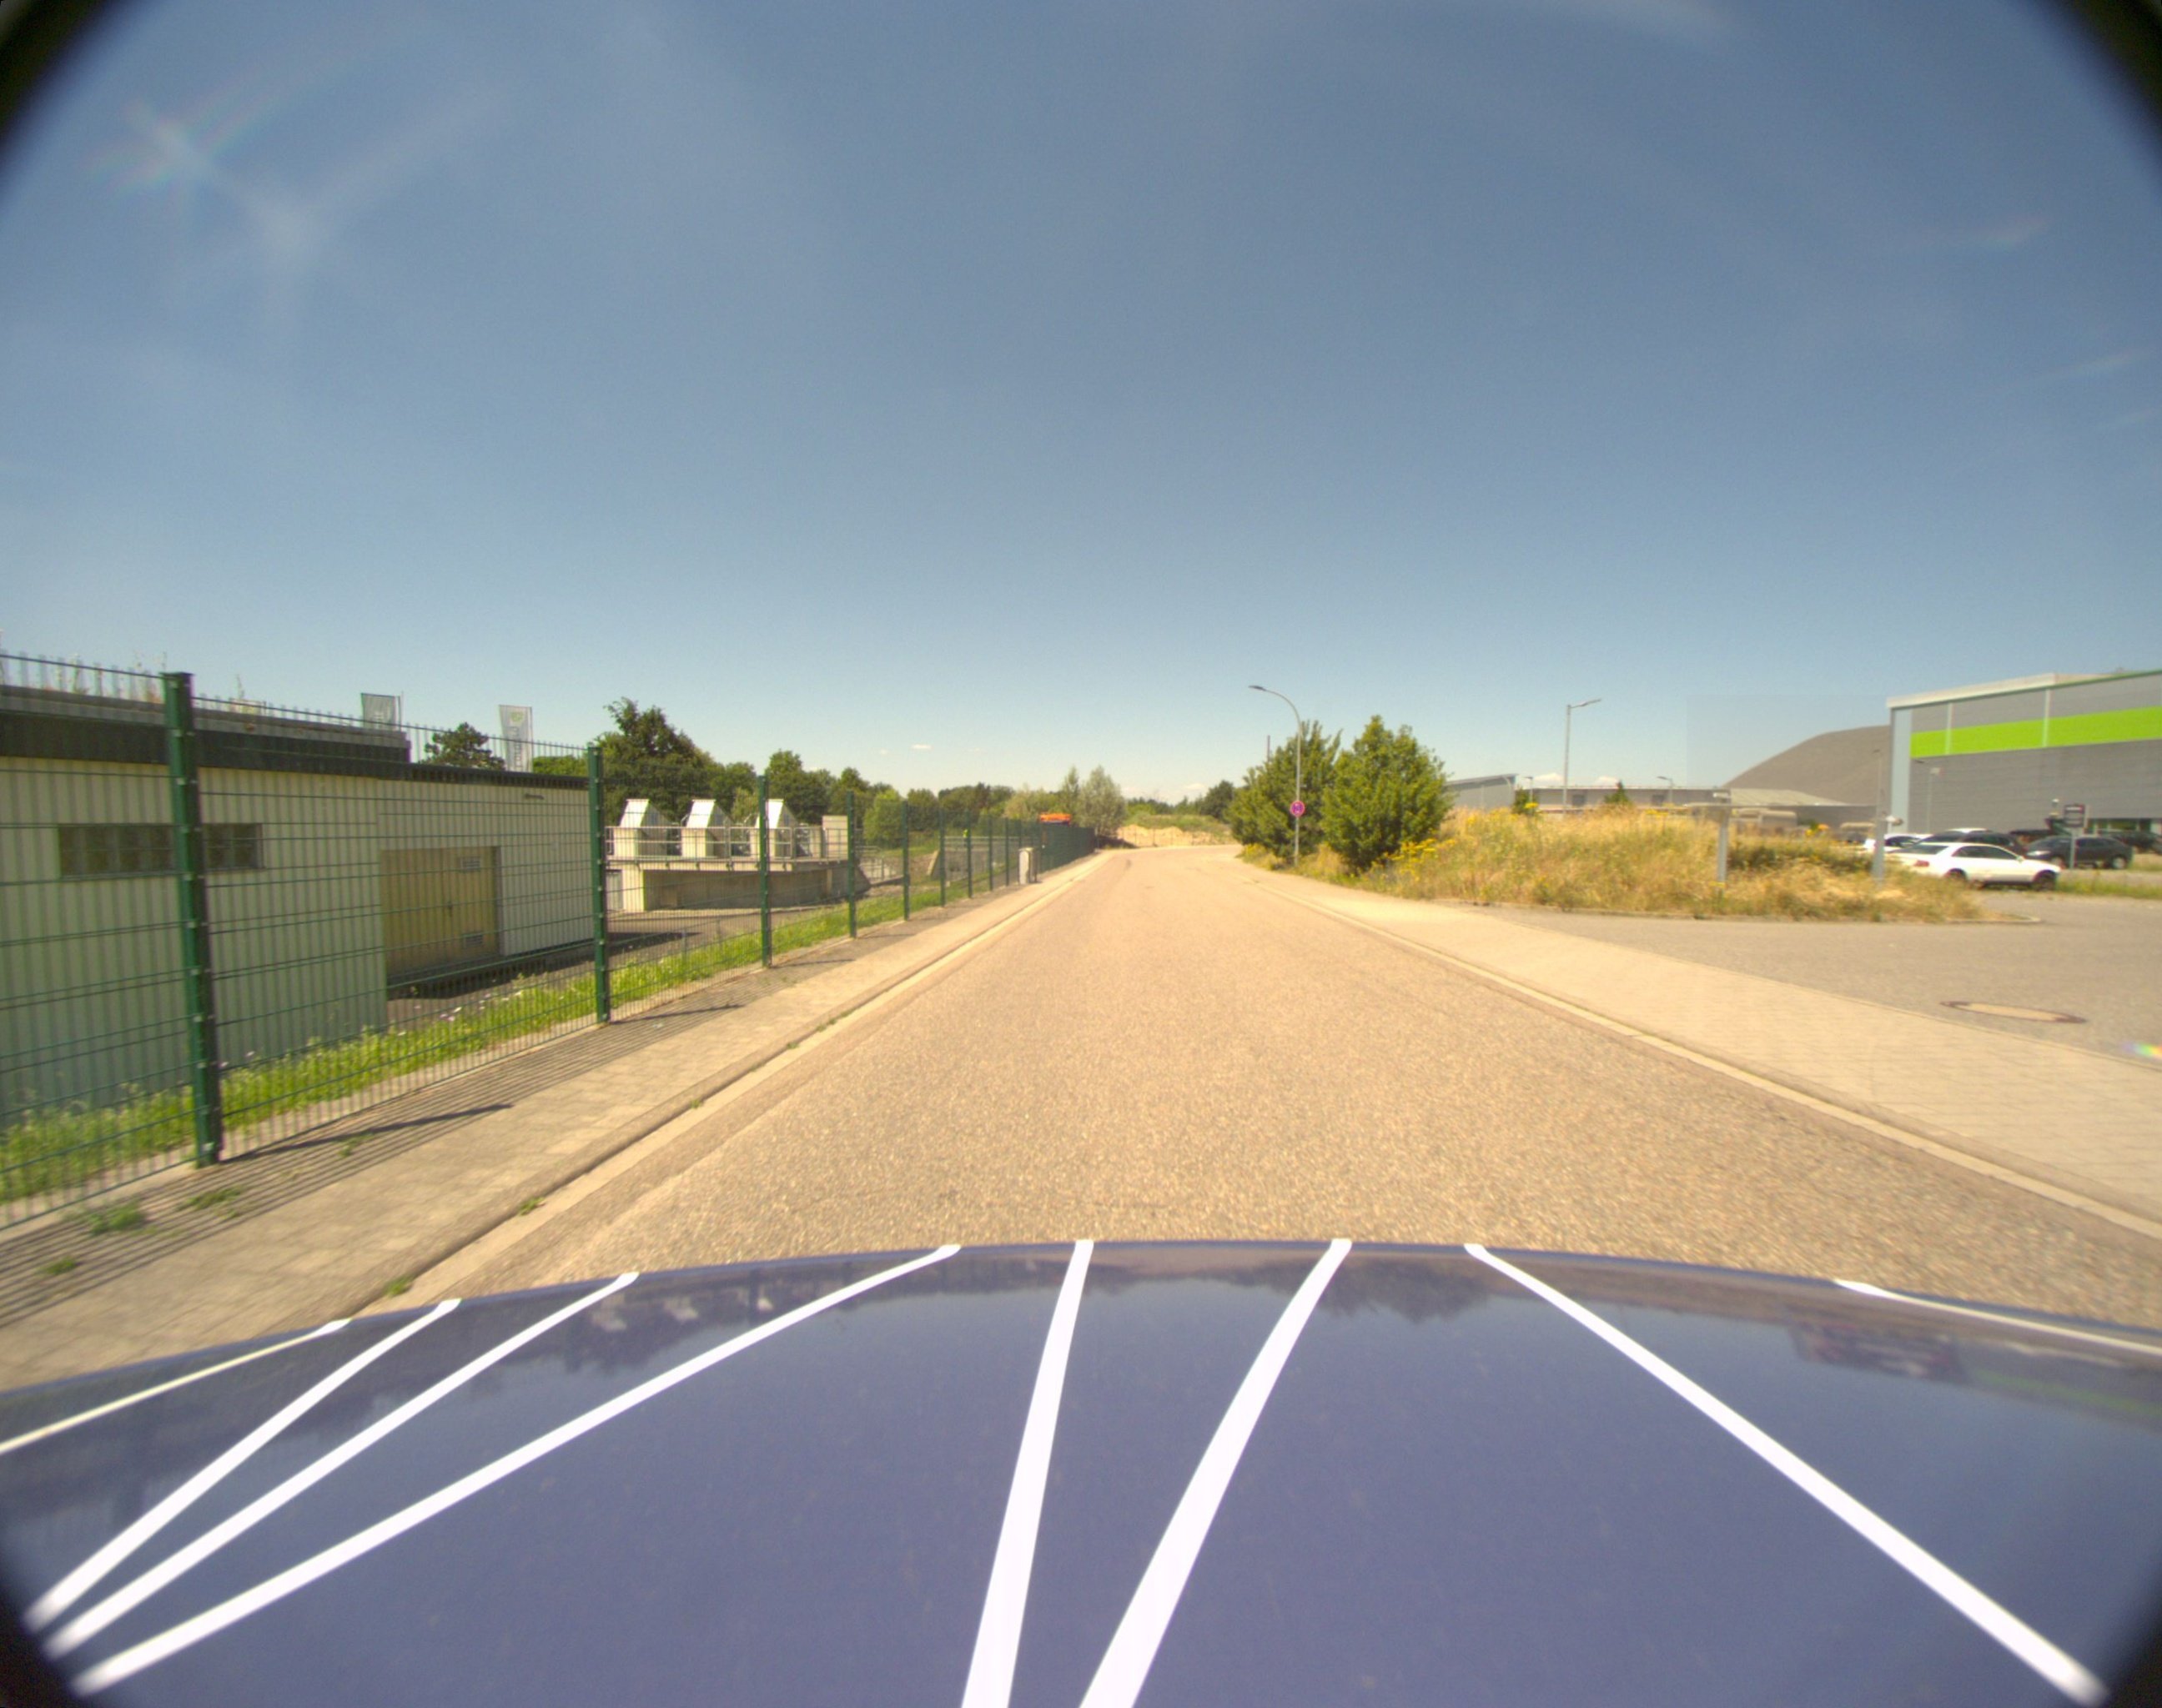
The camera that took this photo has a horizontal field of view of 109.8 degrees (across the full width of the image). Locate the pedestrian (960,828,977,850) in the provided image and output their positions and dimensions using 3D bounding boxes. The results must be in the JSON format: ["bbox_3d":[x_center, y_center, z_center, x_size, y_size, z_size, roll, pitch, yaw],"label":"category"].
[{"bbox_3d":[-10.534,-1.423,71.286,1.304,2.002,1.216,-1,2,4],"label":"pedestrian"}]

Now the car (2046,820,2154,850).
[{"bbox_3d":[63.352,-1.204,47.295,3.997,1.729,1.999,-1,3,0],"label":"car"}]

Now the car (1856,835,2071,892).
[{"bbox_3d":[26.824,0.257,23.209,4.356,1.536,1.871,-2,2,1],"label":"car"}]

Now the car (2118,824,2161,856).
[{"bbox_3d":[63.419,-0.865,43.982,3.997,1.729,1.999,-1,3,0],"label":"car"}]

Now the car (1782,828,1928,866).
[{"bbox_3d":[34.887,-0.343,34.368,4.353,1.536,1.873,-2,2,10],"label":"car"}]

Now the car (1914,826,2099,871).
[{"bbox_3d":[35.588,-0.218,29.341,4.353,1.536,1.873,-2,2,10],"label":"car"}]

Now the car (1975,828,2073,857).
[{"bbox_3d":[63.234,-0.777,51.008,3.997,1.729,1.999,-1,3,0],"label":"car"}]

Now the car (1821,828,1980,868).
[{"bbox_3d":[34.663,-0.273,32.282,4.353,1.536,1.873,-2,2,10],"label":"car"}]

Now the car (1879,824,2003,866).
[{"bbox_3d":[44.754,-0.467,39.634,3.996,2.002,2.000,-2,2,4],"label":"car"}]

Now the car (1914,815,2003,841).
[{"bbox_3d":[62.782,-1.856,54.425,3.997,1.729,1.999,-1,3,0],"label":"car"}]

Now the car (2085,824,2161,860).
[{"bbox_3d":[49.495,-0.560,34.651,1.870,1.536,4.360,-2,1,6],"label":"car"}]

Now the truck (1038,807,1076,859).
[{"bbox_3d":[-1.983,-1.827,66.095,2.847,4.173,8.131,-1,2,1],"label":"truck"}]

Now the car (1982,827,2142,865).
[{"bbox_3d":[44.565,-0.361,34.624,4.353,1.536,1.873,-2,2,9],"label":"car"}]

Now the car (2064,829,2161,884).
[{"bbox_3d":[33.610,0.022,23.352,4.356,1.536,1.871,-2,2,1],"label":"car"}]
